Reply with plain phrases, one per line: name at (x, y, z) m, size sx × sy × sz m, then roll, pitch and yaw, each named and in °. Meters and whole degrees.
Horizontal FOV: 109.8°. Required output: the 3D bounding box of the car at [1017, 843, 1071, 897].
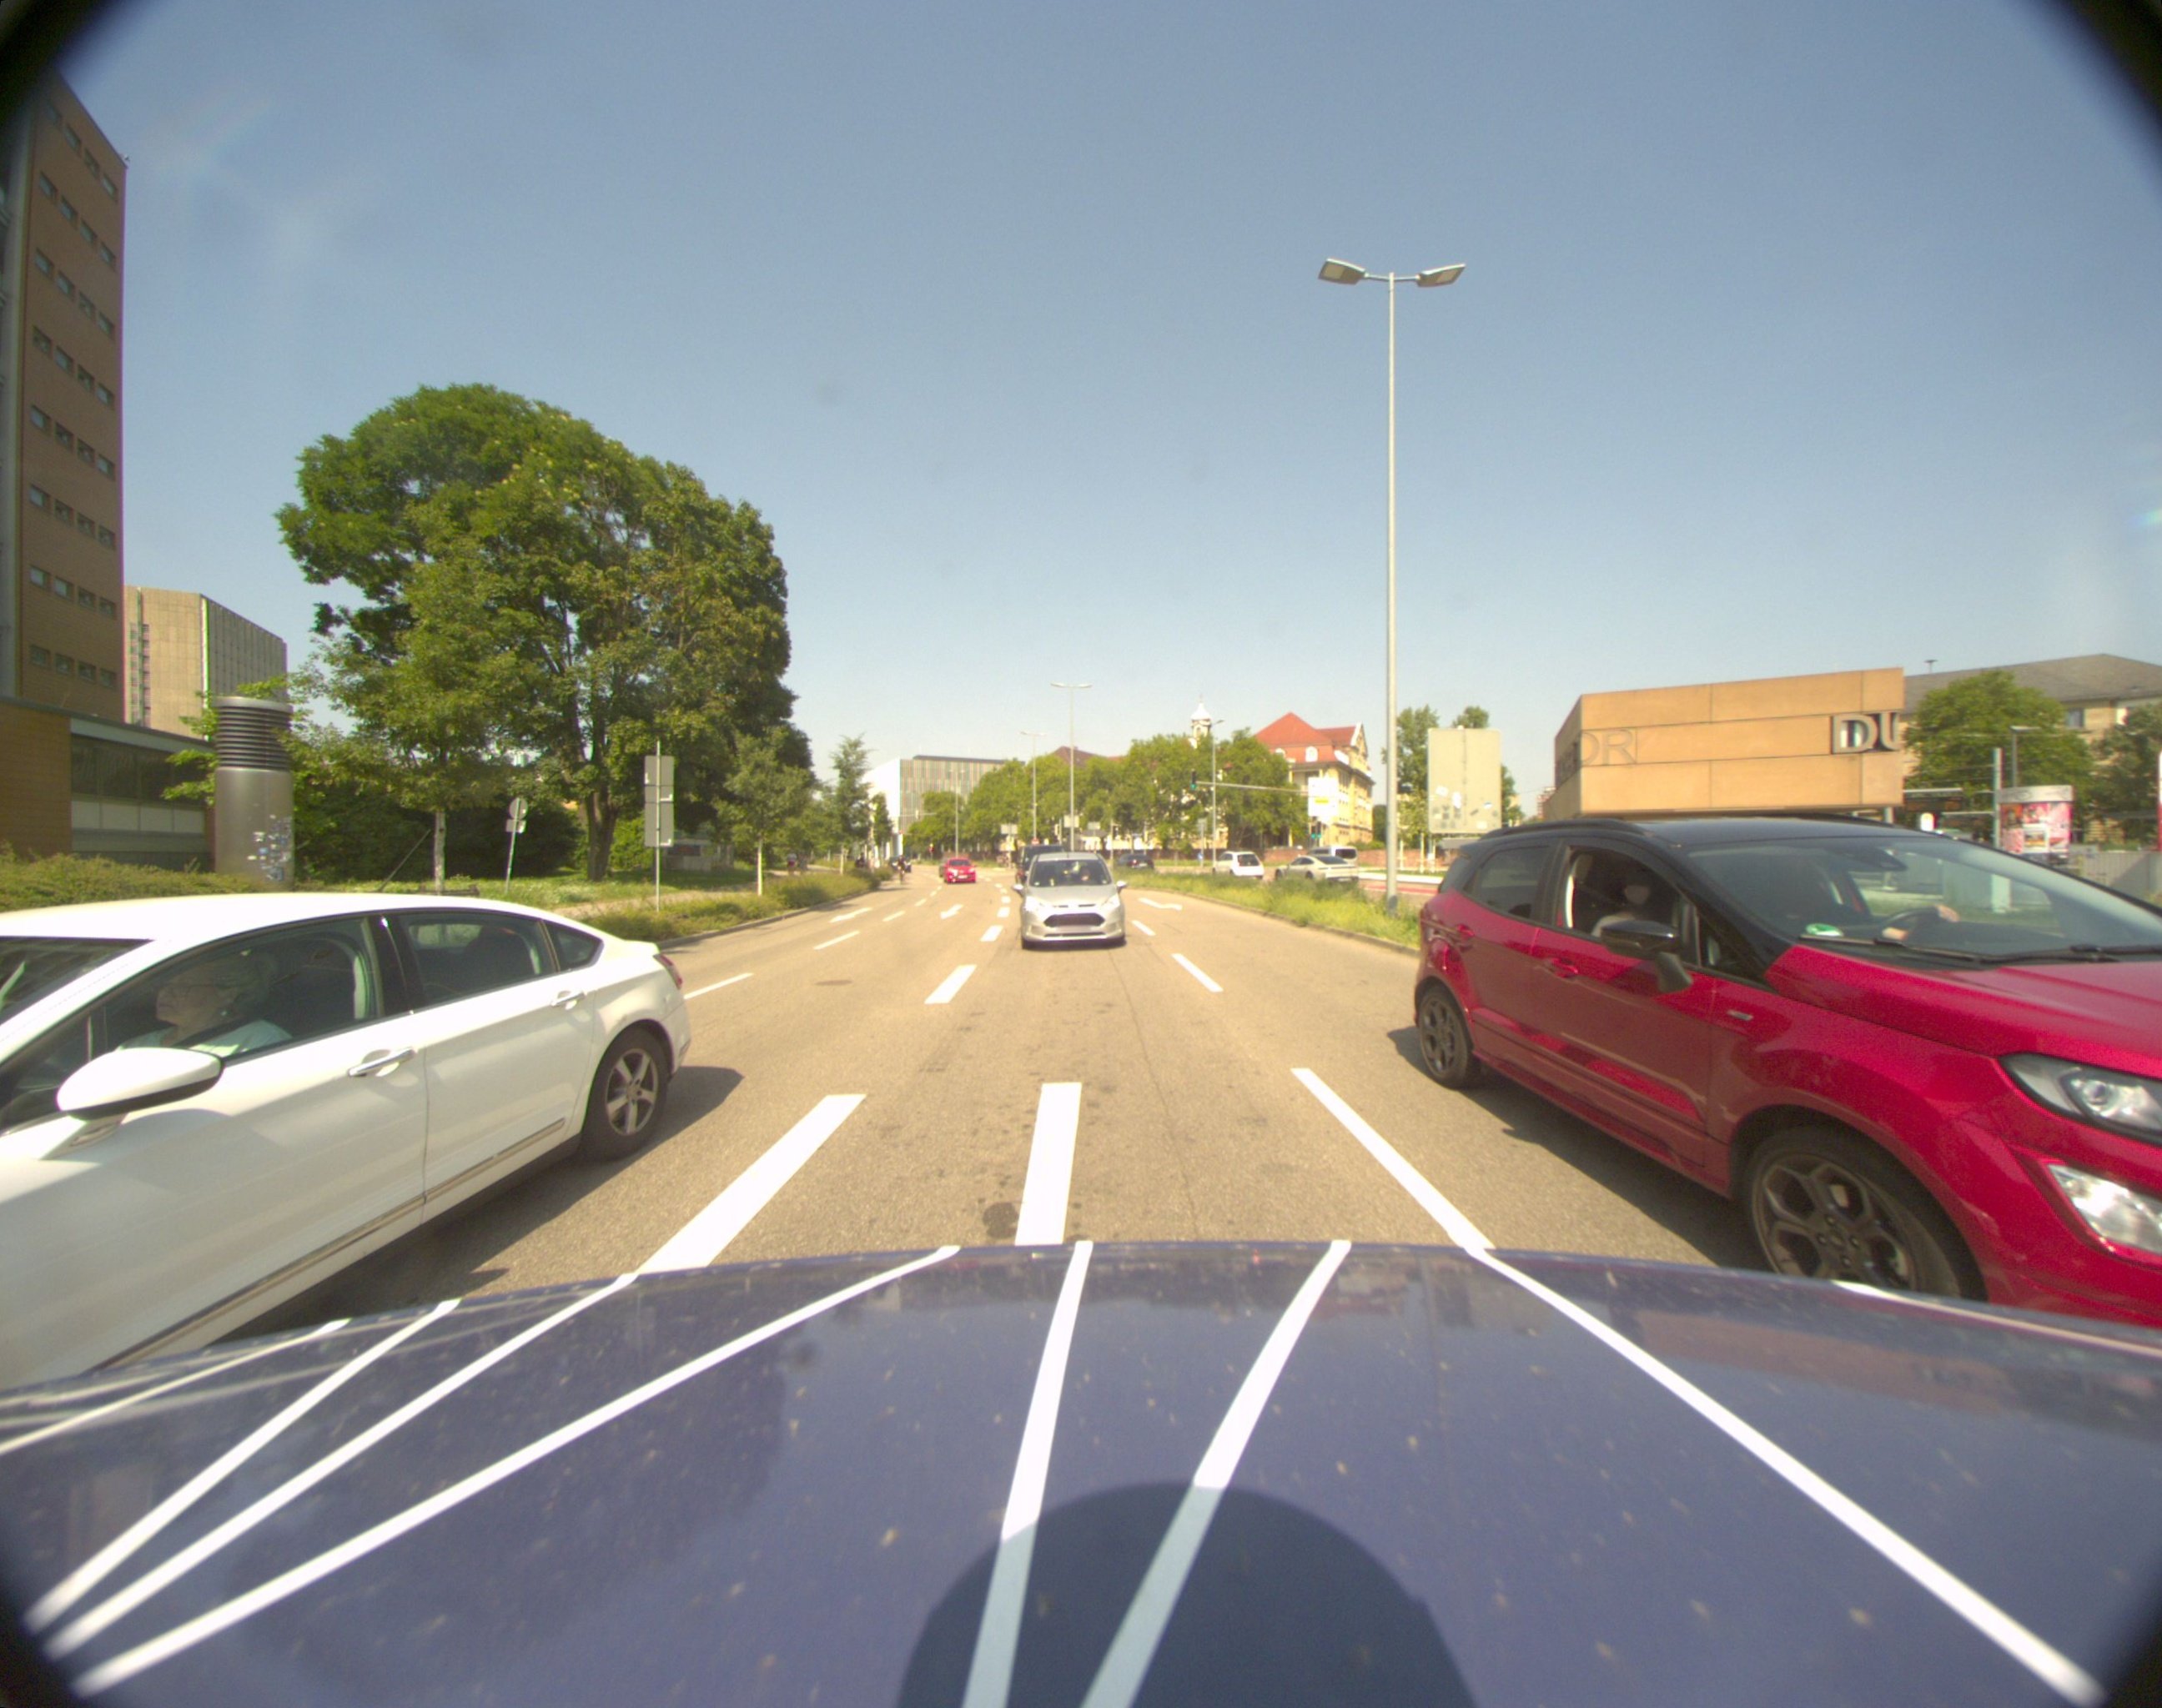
car at (-1.521, 0.565, 29.713) m, size 1.891 × 1.908 × 4.531 m, roll -2°, pitch 0°, yaw -5°

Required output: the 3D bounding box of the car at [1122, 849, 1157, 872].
car at (3.745, 0.392, 49.048) m, size 1.526 × 1.417 × 3.474 m, roll 0°, pitch 0°, yaw -8°

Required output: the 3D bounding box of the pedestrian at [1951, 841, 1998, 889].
pedestrian at (28.180, 0.351, 23.973) m, size 0.771 × 1.488 × 0.606 m, roll 0°, pitch 1°, yaw -1°

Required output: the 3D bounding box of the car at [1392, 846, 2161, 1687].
car at (2.933, 0.789, 3.186) m, size 1.694 × 1.577 × 3.845 m, roll -2°, pitch 0°, yaw 1°

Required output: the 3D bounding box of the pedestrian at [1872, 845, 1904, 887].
pedestrian at (28.842, 0.431, 27.162) m, size 0.539 × 1.488 × 0.541 m, roll 0°, pitch 1°, yaw -1°

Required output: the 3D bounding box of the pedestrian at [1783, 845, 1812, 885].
pedestrian at (26.774, 0.396, 28.399) m, size 0.539 × 1.488 × 0.541 m, roll 0°, pitch 1°, yaw -1°

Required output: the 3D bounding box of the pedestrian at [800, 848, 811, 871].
pedestrian at (-16.271, 0.316, 44.862) m, size 0.577 × 1.291 × 0.437 m, roll -3°, pitch 1°, yaw -18°

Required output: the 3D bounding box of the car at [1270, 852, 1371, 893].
car at (9.993, 0.715, 32.121) m, size 2.001 × 1.576 × 4.710 m, roll 0°, pitch 0°, yaw -12°

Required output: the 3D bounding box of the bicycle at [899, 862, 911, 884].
bicycle at (-10.217, 1.085, 44.074) m, size 0.595 × 1.162 × 2.232 m, roll -1°, pitch 0°, yaw -14°

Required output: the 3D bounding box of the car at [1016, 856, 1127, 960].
car at (-0.119, 0.844, 13.959) m, size 1.658 × 1.521 × 4.533 m, roll -2°, pitch 0°, yaw 1°

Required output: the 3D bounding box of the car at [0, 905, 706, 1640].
car at (-3.259, 1.034, 2.319) m, size 1.773 × 1.420 × 4.610 m, roll 0°, pitch 0°, yaw 2°

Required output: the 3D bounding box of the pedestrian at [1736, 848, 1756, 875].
pedestrian at (26.768, 0.297, 30.591) m, size 0.538 × 1.093 × 0.543 m, roll 0°, pitch 1°, yaw 32°

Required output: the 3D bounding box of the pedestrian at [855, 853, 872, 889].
pedestrian at (-11.789, 0.915, 41.239) m, size 0.823 × 1.892 × 0.630 m, roll -1°, pitch 1°, yaw -12°

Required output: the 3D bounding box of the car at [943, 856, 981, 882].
car at (-6.923, 0.840, 43.885) m, size 1.652 × 1.422 × 3.810 m, roll -2°, pitch 0°, yaw -16°

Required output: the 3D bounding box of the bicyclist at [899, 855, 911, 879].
bicyclist at (-10.247, 0.760, 44.165) m, size 0.680 × 1.392 × 1.048 m, roll -1°, pitch 1°, yaw -14°

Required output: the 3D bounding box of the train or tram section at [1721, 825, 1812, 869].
train or tram section at (58.719, -0.553, 65.516) m, size 2.698 × 3.418 × 13.446 m, roll 0°, pitch 0°, yaw 29°

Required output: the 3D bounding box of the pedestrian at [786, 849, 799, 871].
pedestrian at (-17.002, 0.351, 44.732) m, size 0.635 × 1.291 × 0.486 m, roll -3°, pitch 1°, yaw -17°

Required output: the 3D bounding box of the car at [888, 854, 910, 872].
car at (-17.500, 0.857, 73.155) m, size 1.812 × 1.652 × 3.996 m, roll 0°, pitch 0°, yaw -11°

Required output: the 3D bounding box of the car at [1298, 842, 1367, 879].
car at (13.421, 0.304, 40.787) m, size 1.869 × 1.843 × 3.912 m, roll 0°, pitch 1°, yaw -10°

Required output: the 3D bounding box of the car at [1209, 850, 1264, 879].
car at (8.301, 0.529, 40.835) m, size 1.527 × 1.470 × 3.472 m, roll 0°, pitch 0°, yaw -15°

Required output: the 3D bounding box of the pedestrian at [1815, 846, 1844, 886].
pedestrian at (27.889, 0.436, 28.319) m, size 0.539 × 1.488 × 0.541 m, roll 0°, pitch 1°, yaw -1°

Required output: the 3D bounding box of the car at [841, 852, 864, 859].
car at (-51.278, 0.353, 170.431) m, size 4.429 × 1.380 × 1.767 m, roll -2°, pitch 0°, yaw -36°
